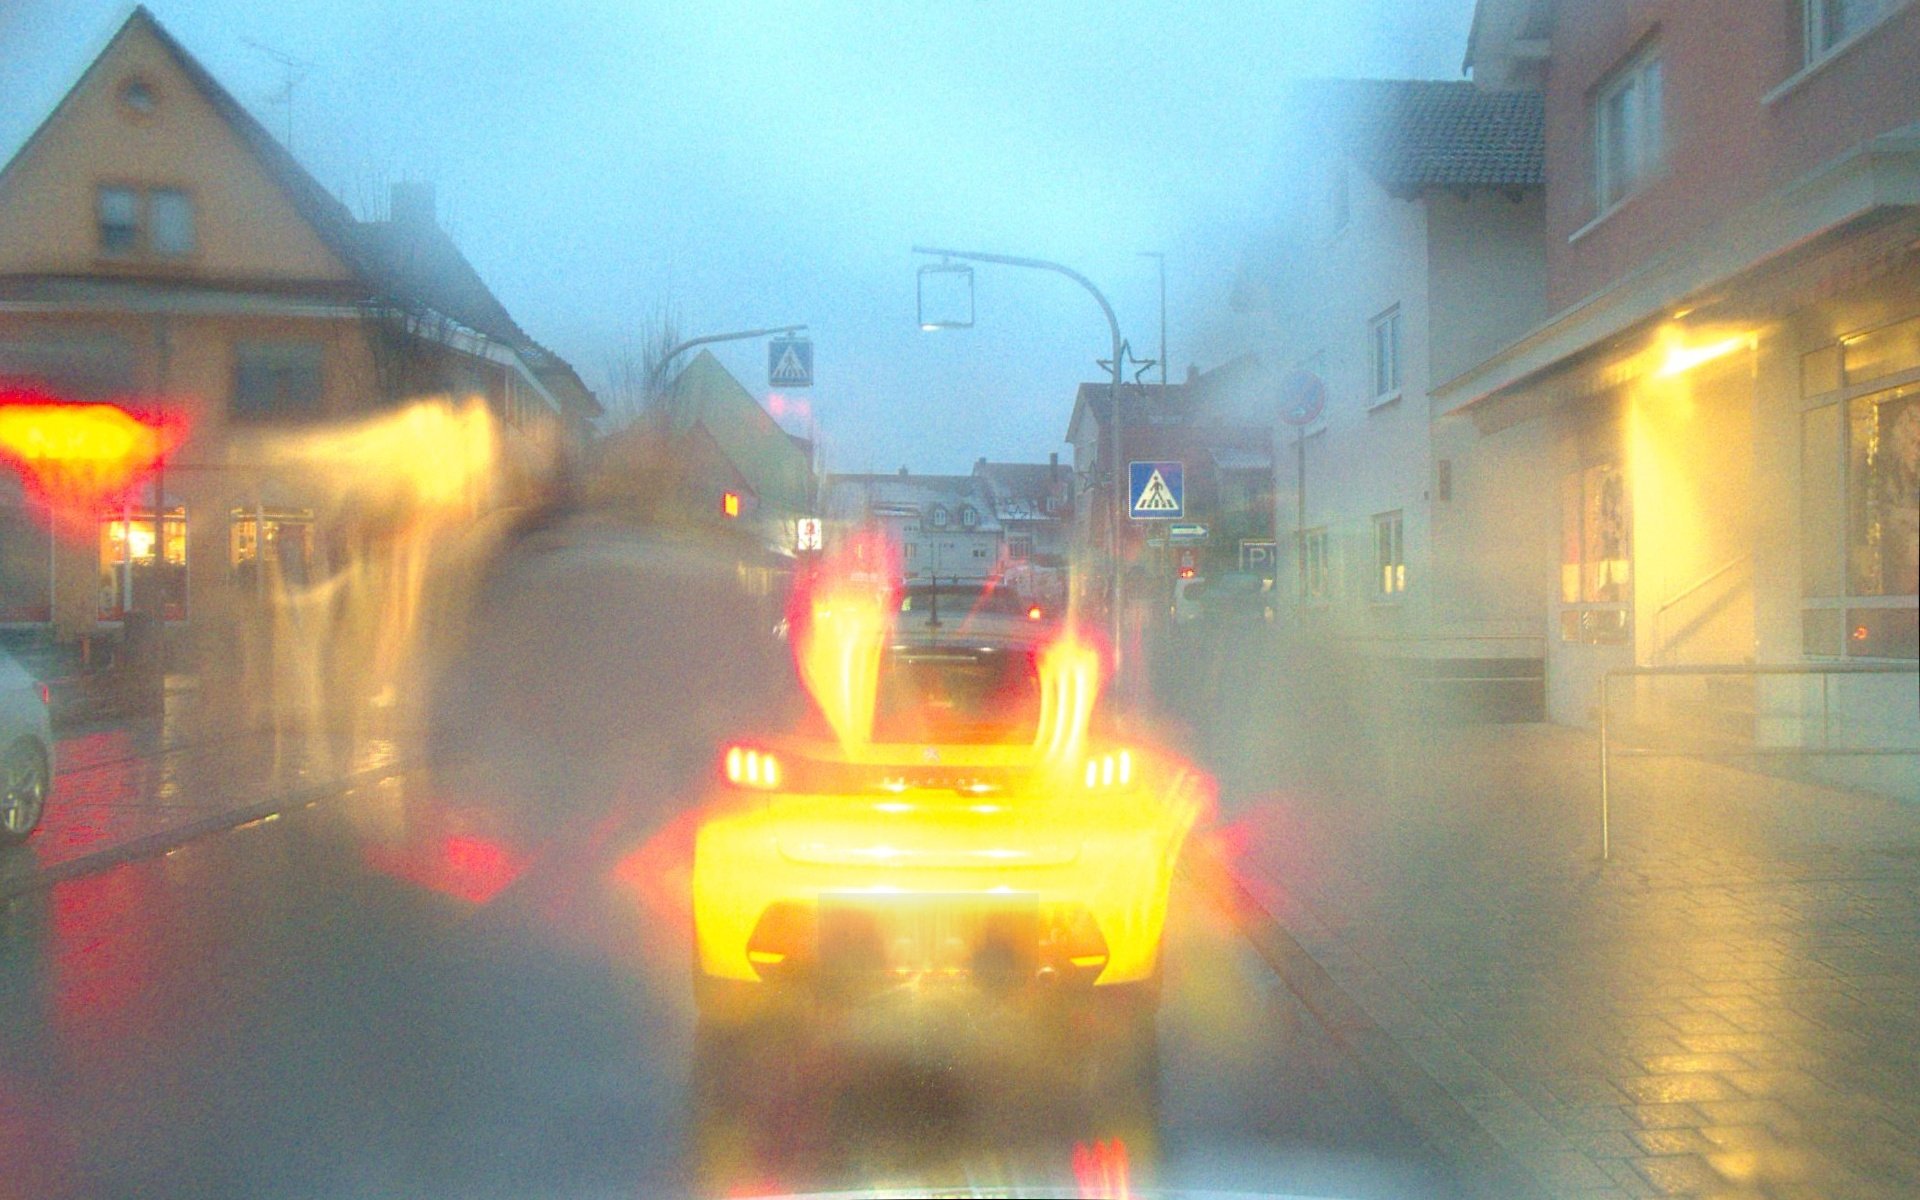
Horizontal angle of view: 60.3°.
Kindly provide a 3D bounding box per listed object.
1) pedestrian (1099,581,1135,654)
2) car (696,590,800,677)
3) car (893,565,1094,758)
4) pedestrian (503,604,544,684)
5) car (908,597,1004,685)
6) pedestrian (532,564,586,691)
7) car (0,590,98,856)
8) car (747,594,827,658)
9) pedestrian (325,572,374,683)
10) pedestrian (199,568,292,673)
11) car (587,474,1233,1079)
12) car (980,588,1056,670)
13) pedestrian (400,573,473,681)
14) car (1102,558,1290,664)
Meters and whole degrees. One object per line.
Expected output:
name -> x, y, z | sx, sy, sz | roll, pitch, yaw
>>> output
pedestrian -> 4.488, 0.497, 47.422 | 0.995, 2.049, 1.276 | 0, 0, 4
car -> -5.207, 0.781, 41.160 | 1.952, 2.049, 4.362 | 0, 0, 1
car -> 0.318, 0.561, 16.660 | 1.761, 1.691, 4.000 | 1, 0, 1
pedestrian -> -6.884, 0.685, 26.099 | 0.542, 1.254, 0.433 | 0, 0, -5
car -> -0.016, 0.759, 33.032 | 1.789, 1.629, 4.582 | 0, 0, 1
pedestrian -> -6.157, 0.414, 25.408 | 0.689, 1.909, 0.616 | 1, 1, -7
car -> -6.382, 0.699, 8.673 | 1.636, 1.543, 3.999 | 2, 0, -1
car -> -4.991, 0.733, 48.233 | 1.953, 1.783, 4.360 | 0, 0, -2
pedestrian -> -9.886, 0.435, 26.798 | 0.576, 1.773, 0.683 | 0, 0, -6
pedestrian -> -10.656, 0.308, 24.697 | 0.872, 1.442, 0.776 | 6, -1, 4
car -> -0.071, 0.510, 7.344 | 1.952, 1.827, 4.650 | 0, 1, 2
car -> 1.497, 0.720, 43.884 | 1.609, 2.049, 3.998 | -2, 0, -3
pedestrian -> -8.842, 0.448, 27.955 | 0.954, 1.773, 0.960 | 1, 1, -5
car -> 4.746, 0.221, 33.612 | 3.620, 2.049, 1.690 | 1, -1, 2
